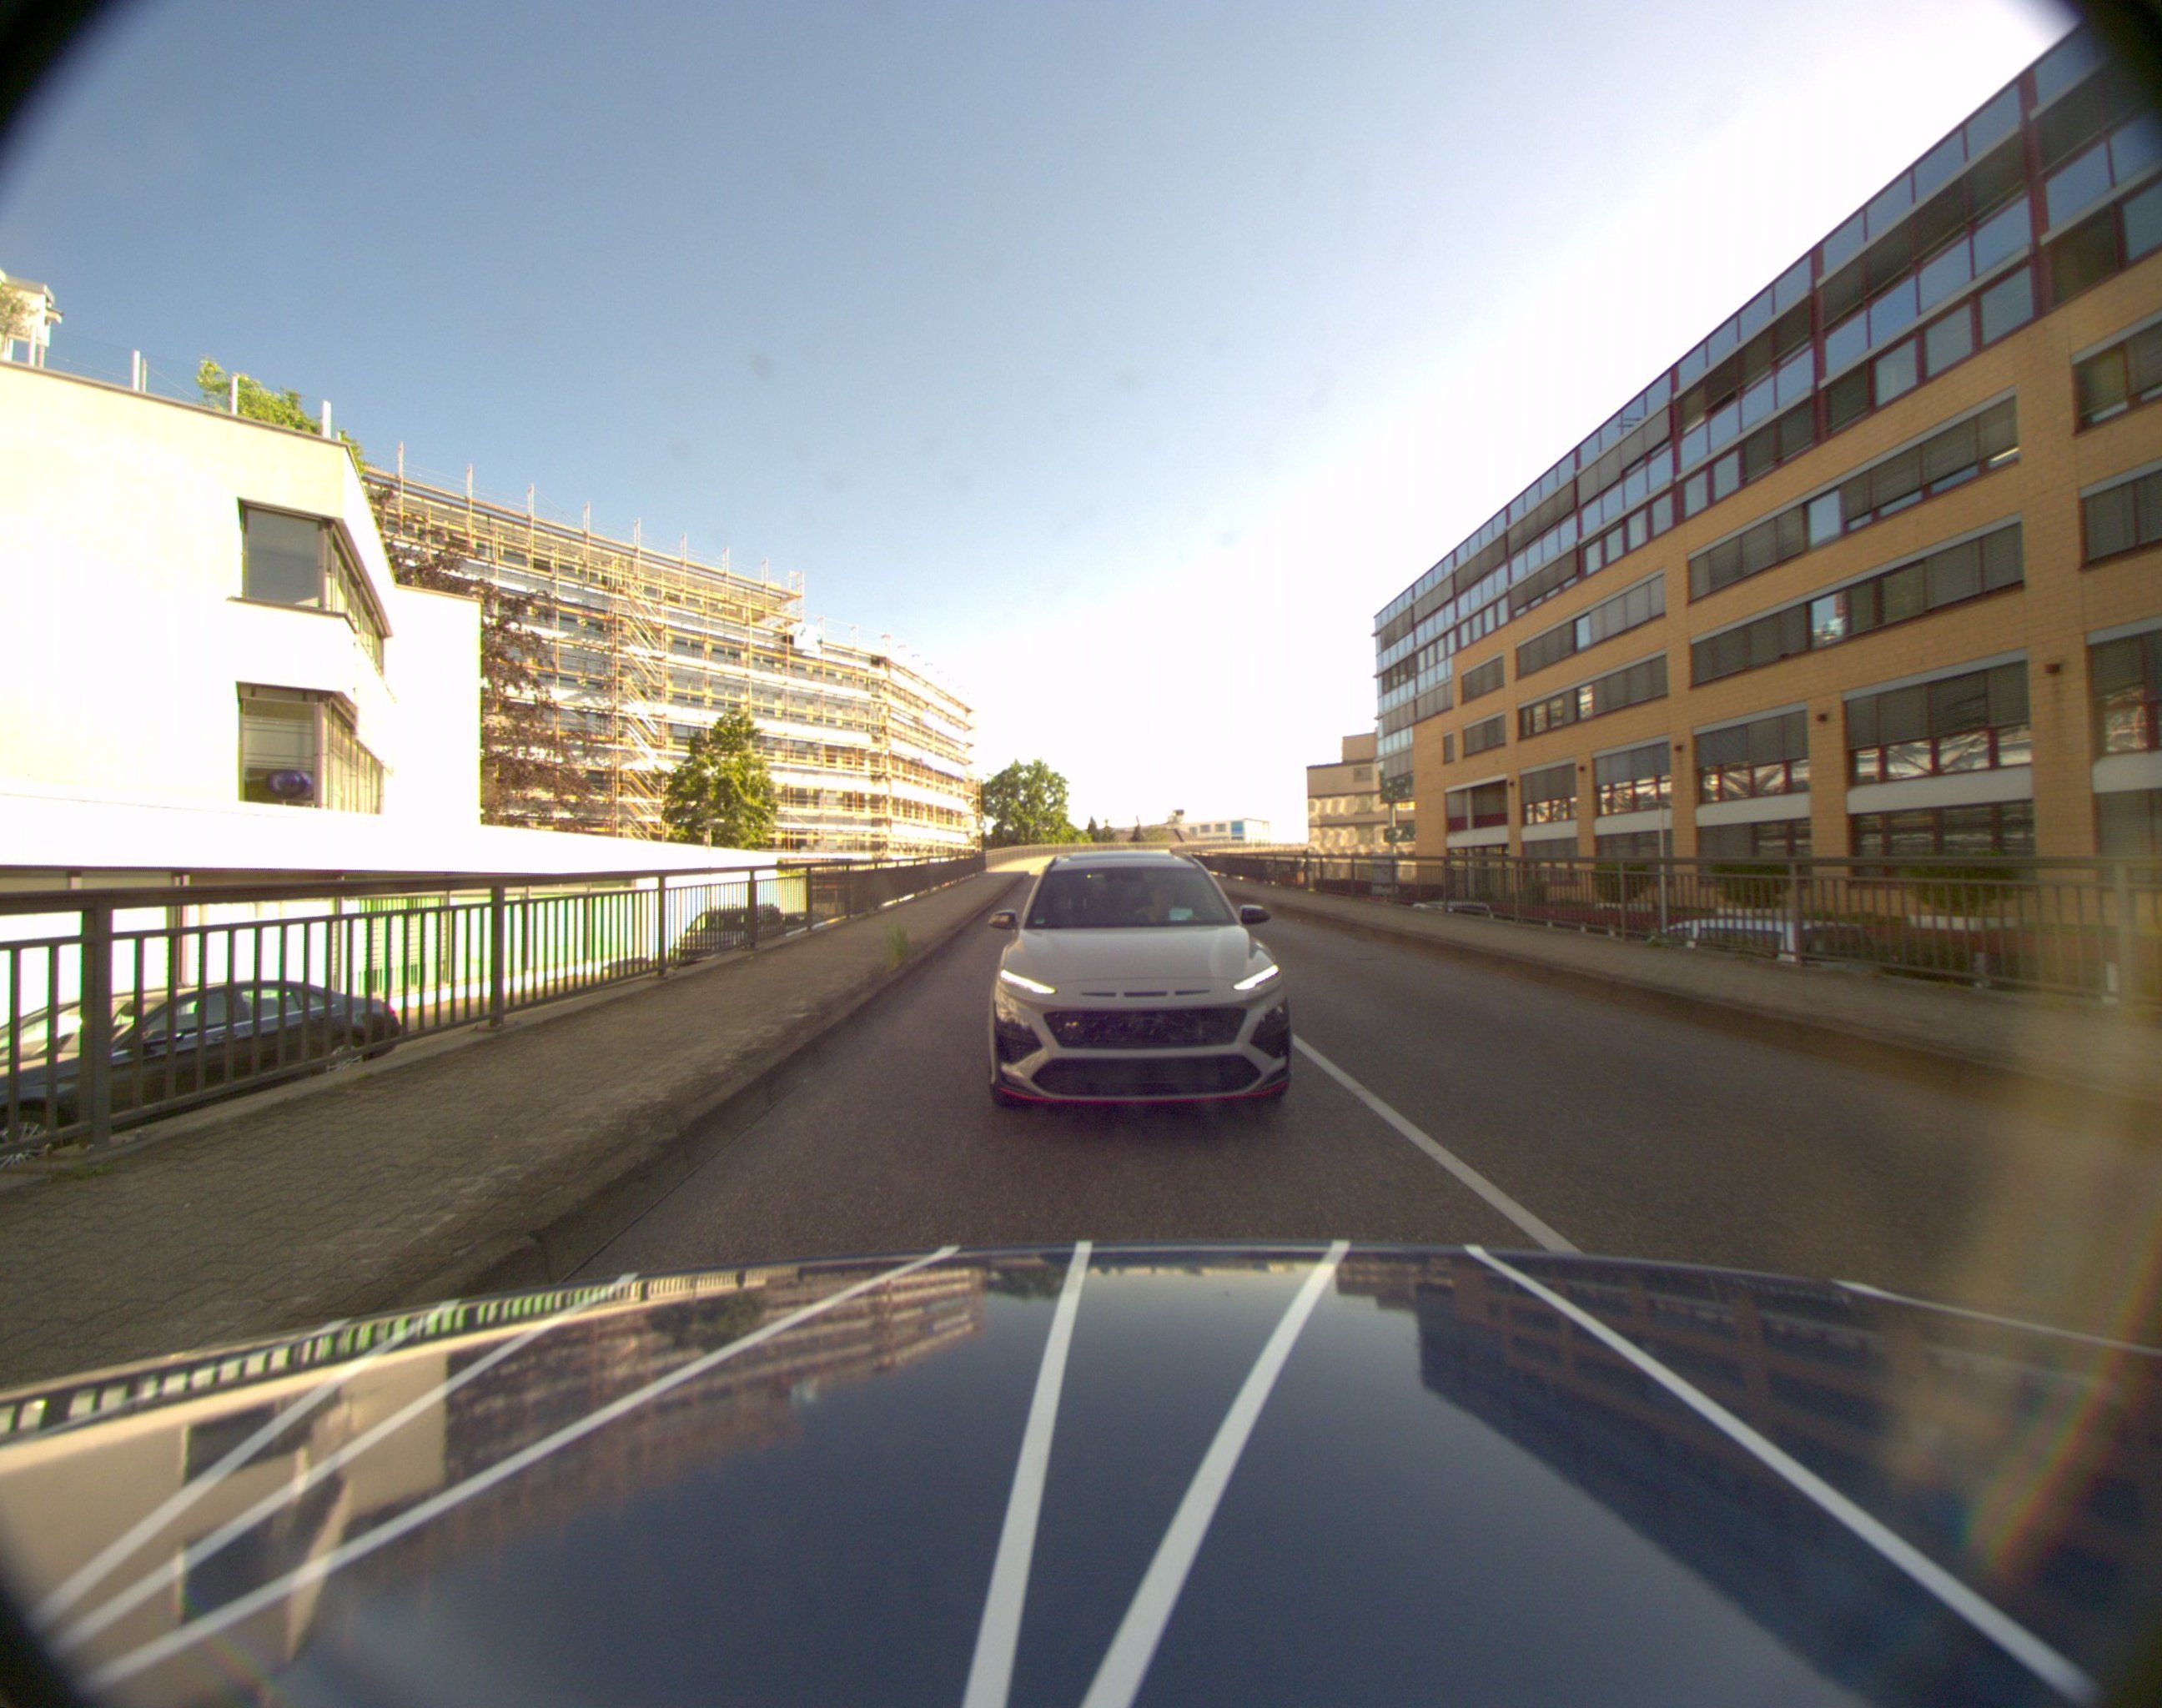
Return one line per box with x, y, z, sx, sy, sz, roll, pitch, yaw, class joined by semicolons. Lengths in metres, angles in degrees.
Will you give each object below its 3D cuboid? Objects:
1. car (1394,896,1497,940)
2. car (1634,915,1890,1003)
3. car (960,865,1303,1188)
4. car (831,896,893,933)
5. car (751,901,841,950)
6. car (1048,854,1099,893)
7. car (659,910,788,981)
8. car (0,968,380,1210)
12.743;2.203;26.824;1.766;1.261;3.809;0;-1;-1;car
13.048;1.945;14.916;1.580;1.261;3.809;0;-1;-1;car
0.287;0.911;5.889;1.749;1.637;4.001;0;-1;1;car
-10.210;2.783;35.674;1.726;1.383;4.000;-2;-1;-1;car
-10.089;2.486;27.214;1.726;1.383;4.000;-2;-1;-1;car
-0.318;0.725;30.308;1.902;1.433;4.126;0;0;-1;car
-9.908;2.478;21.426;1.726;1.513;4.000;-2;-1;-1;car
-9.598;2.171;7.415;1.726;1.513;4.001;-2;-1;1;car
